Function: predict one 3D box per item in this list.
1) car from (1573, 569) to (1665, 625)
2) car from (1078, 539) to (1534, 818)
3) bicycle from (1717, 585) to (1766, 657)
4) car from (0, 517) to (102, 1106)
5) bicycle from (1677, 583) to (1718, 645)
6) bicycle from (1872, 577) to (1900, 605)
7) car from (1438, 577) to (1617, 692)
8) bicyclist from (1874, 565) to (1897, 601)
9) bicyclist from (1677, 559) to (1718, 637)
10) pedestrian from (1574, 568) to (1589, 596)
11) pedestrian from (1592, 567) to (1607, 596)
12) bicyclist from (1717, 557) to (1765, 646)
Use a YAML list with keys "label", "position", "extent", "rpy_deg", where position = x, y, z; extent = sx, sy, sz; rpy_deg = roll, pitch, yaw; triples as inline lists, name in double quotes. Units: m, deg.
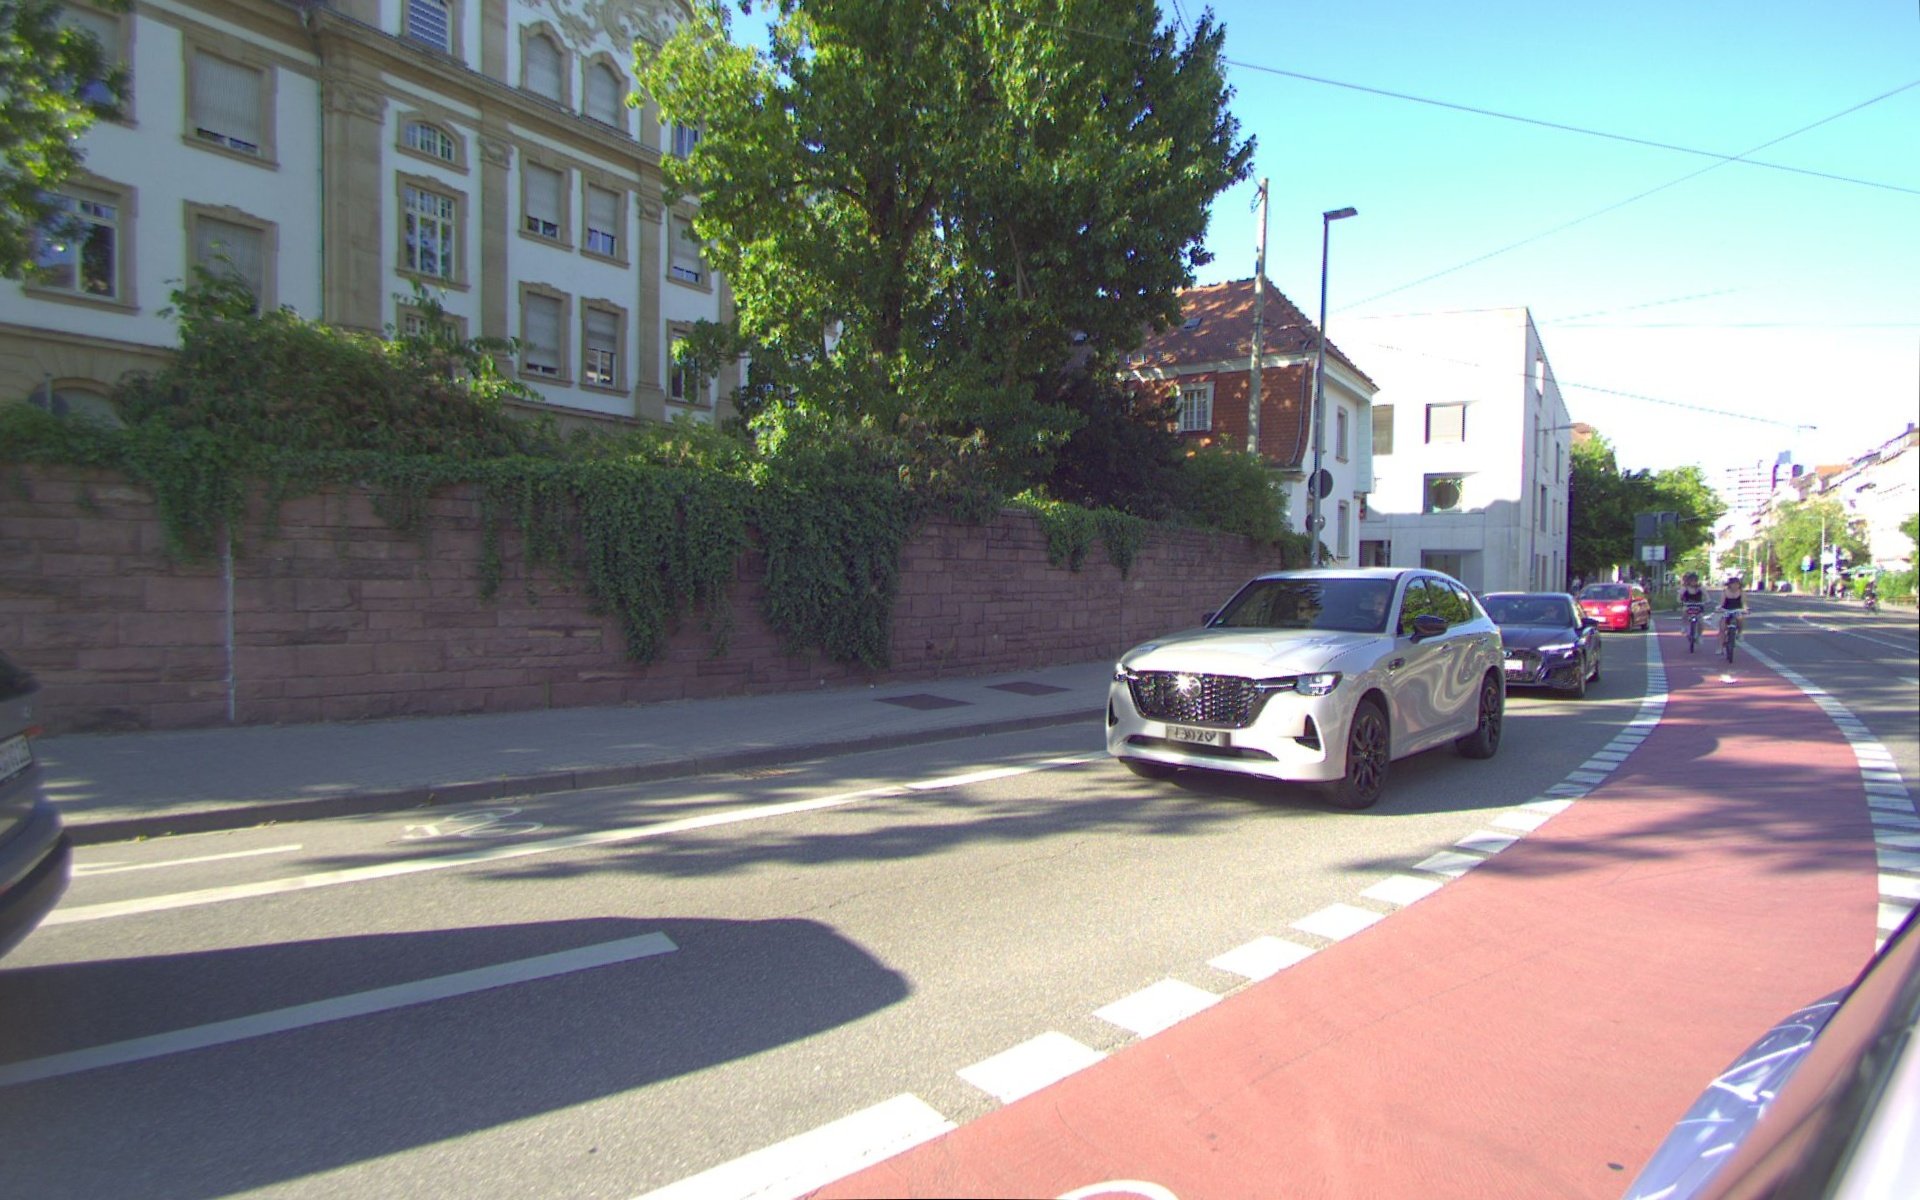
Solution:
- label: "car"
  position: [19.898, -0.110, 30.513]
  extent: [1.645, 1.580, 3.592]
  rpy_deg: [0, 1, 45]
- label: "car"
  position: [3.119, 0.443, 8.510]
  extent: [1.940, 1.713, 4.460]
  rpy_deg: [0, 1, 44]
- label: "bicycle"
  position: [15.144, 0.365, 19.640]
  extent: [0.672, 1.265, 2.424]
  rpy_deg: [2, 2, 36]
- label: "car"
  position: [-4.790, 0.601, 2.202]
  extent: [4.245, 1.614, 1.793]
  rpy_deg: [-1, 0, -33]
- label: "bicycle"
  position: [16.173, 0.269, 22.188]
  extent: [0.672, 1.265, 2.424]
  rpy_deg: [2, 2, 36]
- label: "bicycle"
  position: [44.145, -0.433, 48.261]
  extent: [0.672, 1.265, 2.424]
  rpy_deg: [2, 2, 36]
- label: "car"
  position: [8.467, 0.401, 14.937]
  extent: [1.779, 1.451, 3.946]
  rpy_deg: [0, 1, 37]
- label: "bicyclist"
  position: [44.187, -0.812, 48.314]
  extent: [0.672, 1.667, 1.016]
  rpy_deg: [2, 2, 37]
- label: "bicyclist"
  position: [16.193, -0.058, 22.211]
  extent: [0.672, 1.667, 1.016]
  rpy_deg: [2, 2, 37]
- label: "pedestrian"
  position: [36.807, -1.083, 59.939]
  extent: [0.672, 1.668, 0.807]
  rpy_deg: [1, 1, 37]
- label: "pedestrian"
  position: [37.525, -1.085, 59.362]
  extent: [0.672, 1.668, 0.807]
  rpy_deg: [1, 1, 37]
- label: "bicyclist"
  position: [15.147, 0.016, 19.640]
  extent: [0.672, 1.667, 1.016]
  rpy_deg: [2, 2, 37]
